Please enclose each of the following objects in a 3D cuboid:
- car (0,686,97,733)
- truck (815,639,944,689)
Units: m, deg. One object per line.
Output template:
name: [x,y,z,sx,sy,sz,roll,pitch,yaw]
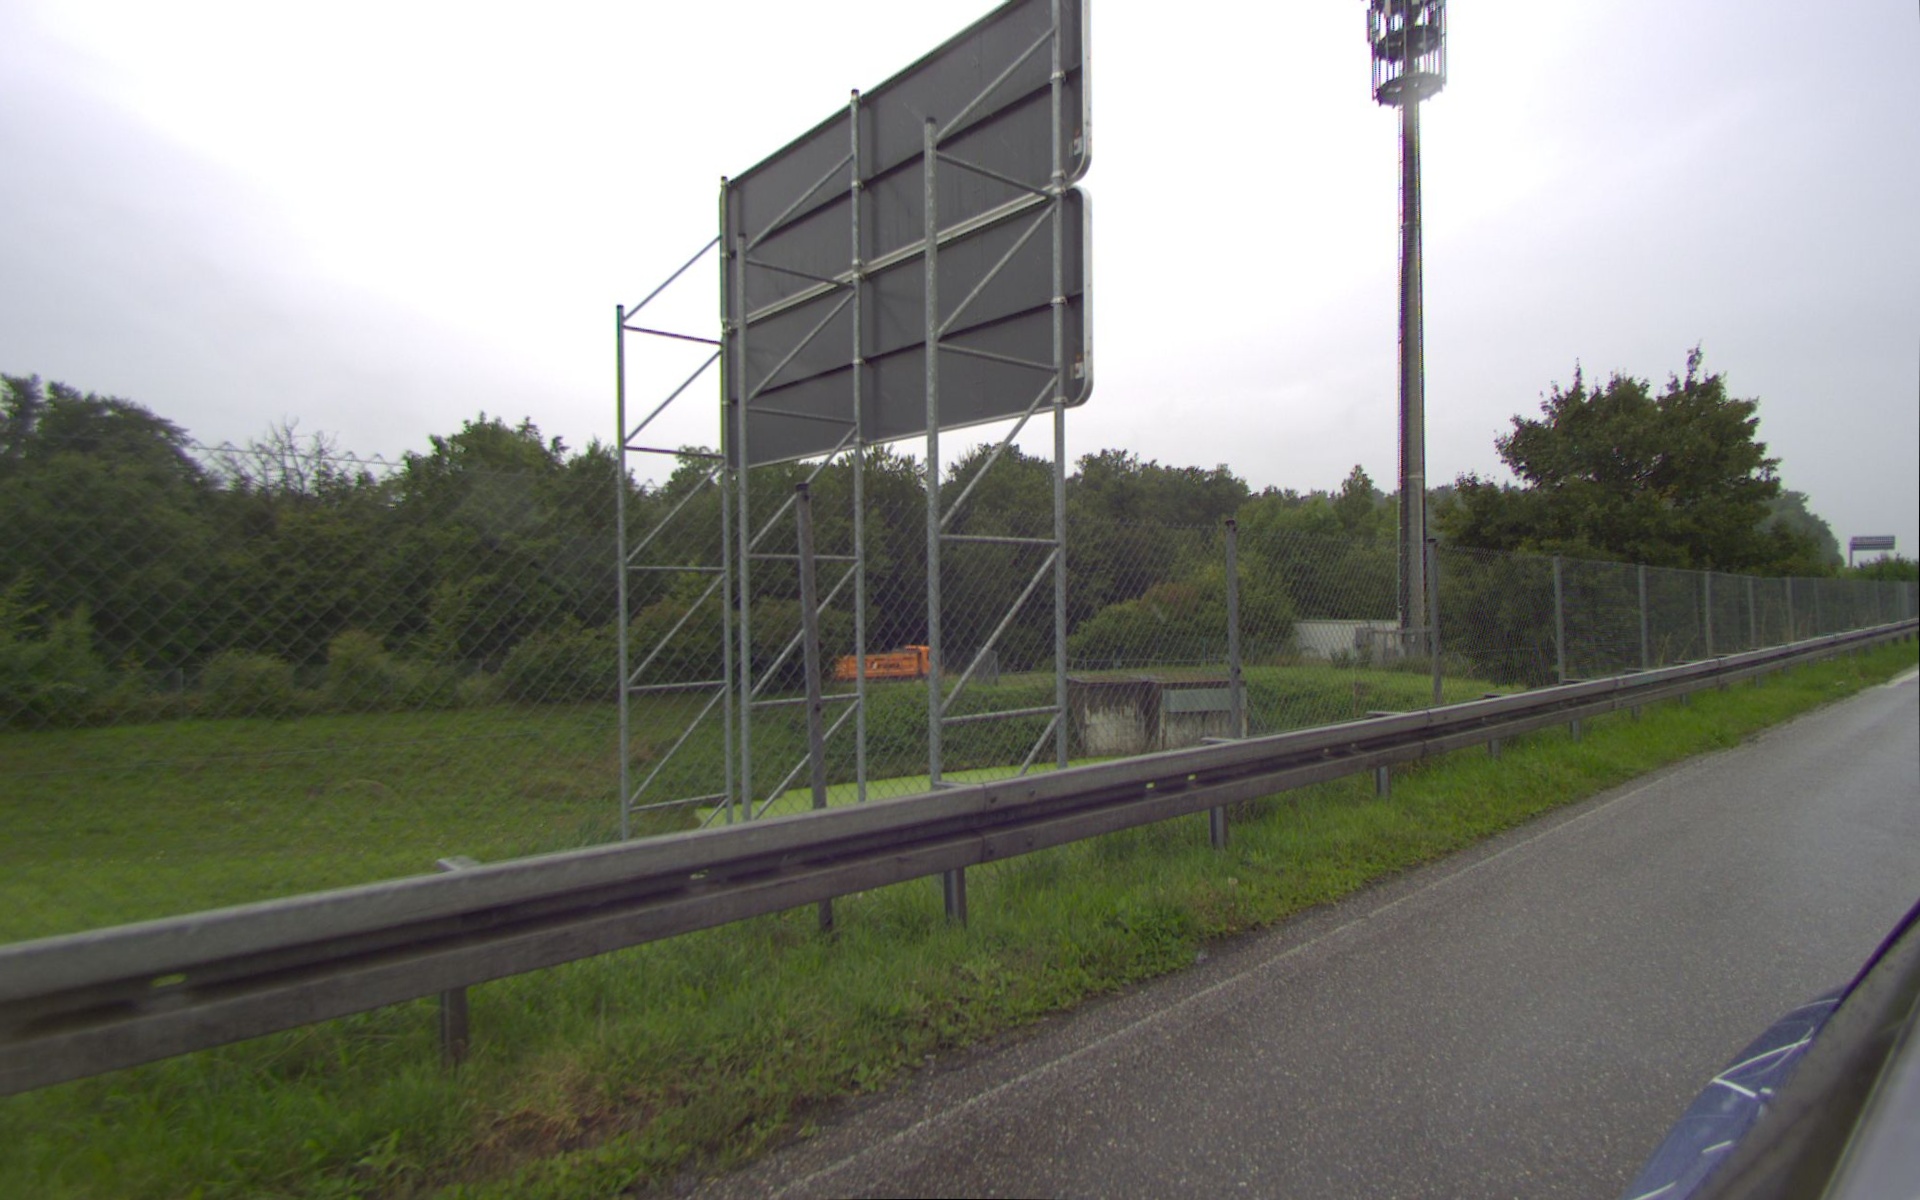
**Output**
car: [-36.032,4.257,39.178,3.929,1.624,1.771,0,-5,-40]
truck: [-4.902,3.922,62.930,2.824,2.697,8.133,-7,-5,43]
